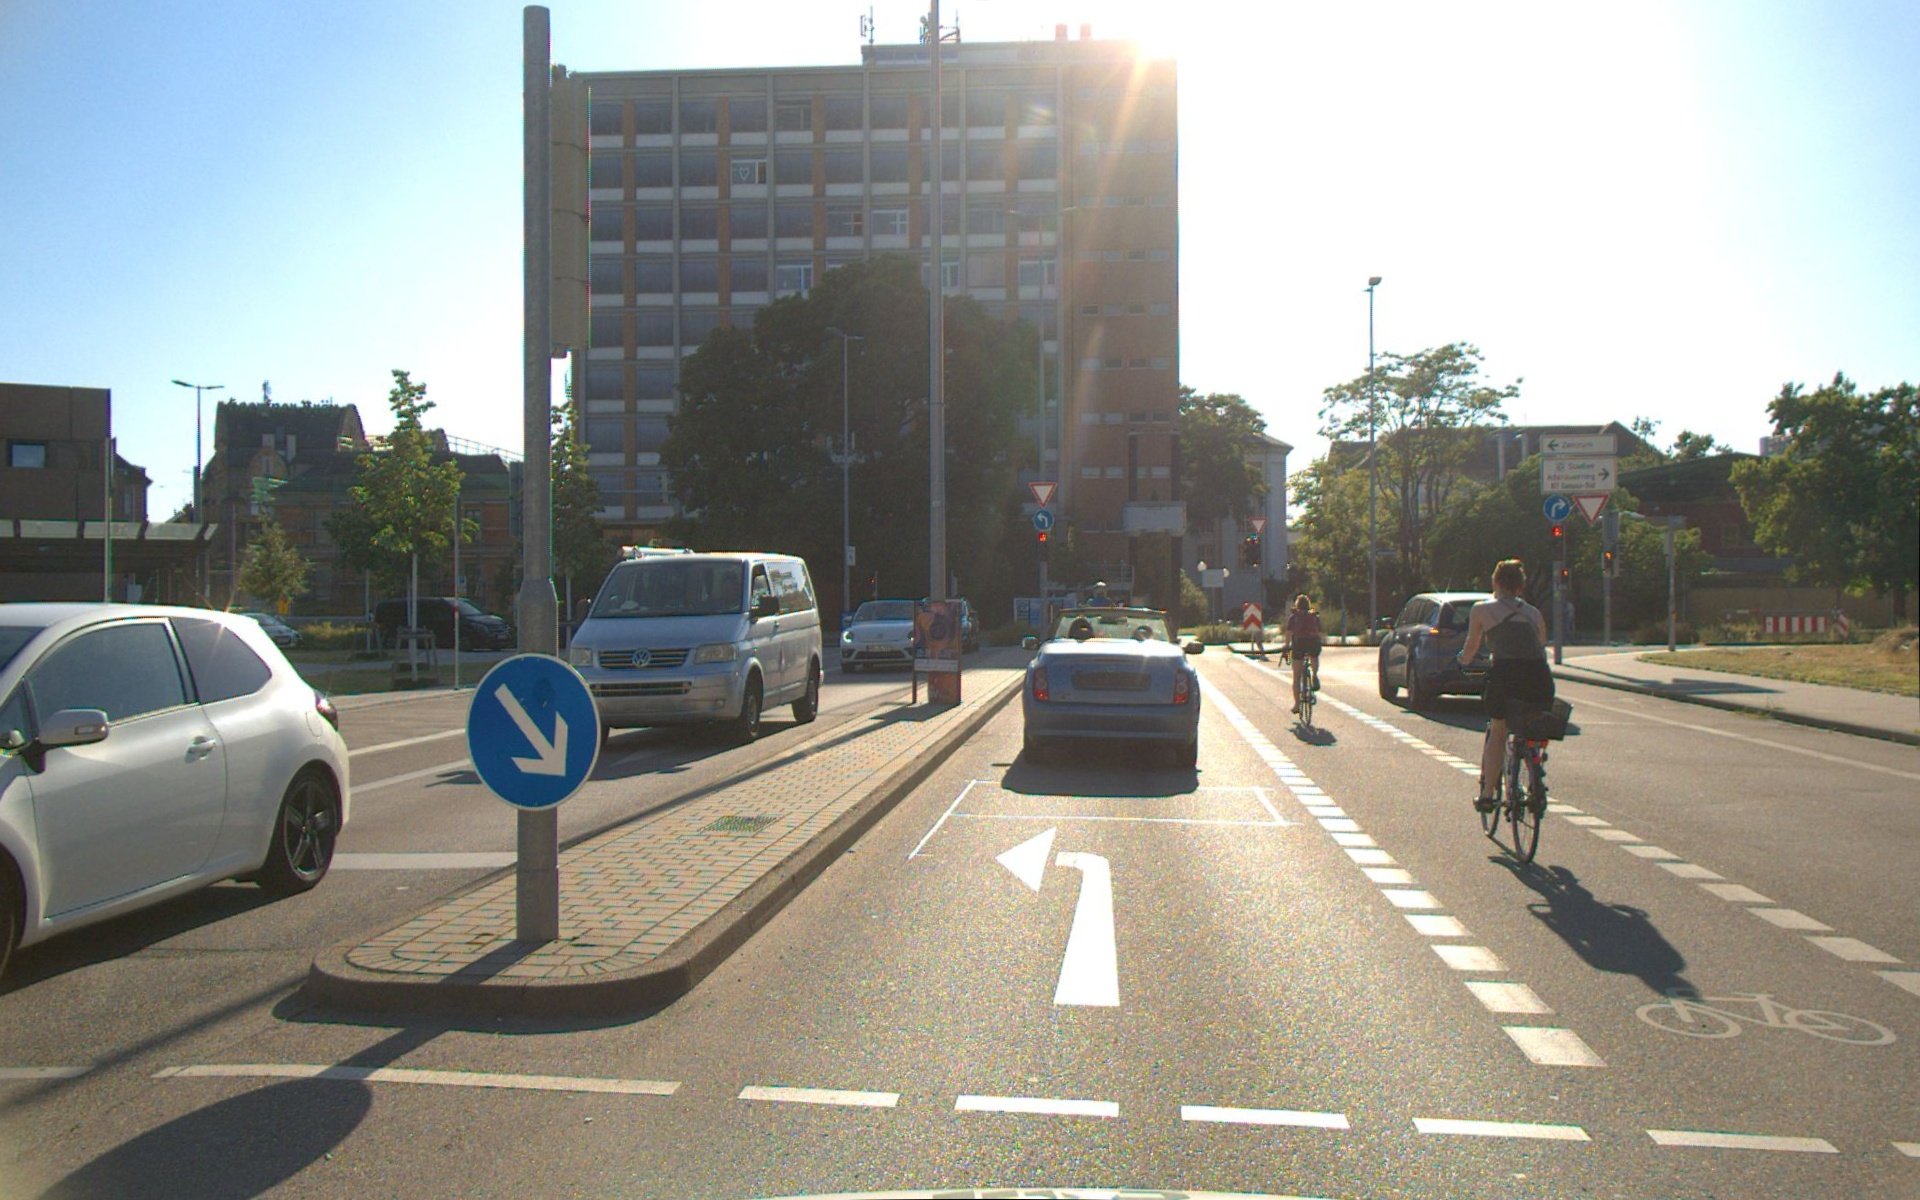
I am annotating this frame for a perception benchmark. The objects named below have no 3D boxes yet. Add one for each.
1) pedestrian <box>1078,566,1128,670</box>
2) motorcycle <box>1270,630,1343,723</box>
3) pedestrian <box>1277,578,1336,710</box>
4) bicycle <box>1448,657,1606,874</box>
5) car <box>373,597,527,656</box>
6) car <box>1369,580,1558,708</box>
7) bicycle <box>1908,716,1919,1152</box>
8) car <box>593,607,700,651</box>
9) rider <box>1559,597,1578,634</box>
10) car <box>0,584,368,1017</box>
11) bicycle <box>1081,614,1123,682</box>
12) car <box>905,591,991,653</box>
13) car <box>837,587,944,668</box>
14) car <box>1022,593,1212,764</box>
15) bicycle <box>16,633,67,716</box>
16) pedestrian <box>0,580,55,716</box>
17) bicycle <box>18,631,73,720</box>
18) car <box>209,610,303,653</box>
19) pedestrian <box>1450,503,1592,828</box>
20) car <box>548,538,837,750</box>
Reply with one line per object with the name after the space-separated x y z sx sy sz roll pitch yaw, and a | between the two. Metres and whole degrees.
2.688 0.336 31.015 0.815 1.902 0.921 1 -1 9 | pedestrian
4.416 0.948 21.184 0.600 1.117 2.361 1 -1 5 | motorcycle
4.417 0.554 21.129 0.575 1.626 1.025 1 -1 4 | pedestrian
3.467 0.957 10.251 0.552 1.171 1.951 1 -1 8 | bicycle
-18.132 0.947 58.801 5.051 1.928 2.244 -2 0 26 | car
7.470 0.640 24.962 1.793 1.719 4.370 1 -1 4 | car
2.841 0.903 3.414 0.542 1.192 2.373 1 -1 4 | bicycle
-11.625 1.073 61.396 3.561 1.588 1.651 -1 0 16 | car
27.112 0.677 73.736 0.736 1.626 0.590 1 -1 17 | rider
-4.261 0.746 7.144 1.658 1.588 3.982 -1 0 6 | car
2.673 0.882 30.949 0.595 1.212 2.416 1 -1 9 | bicycle
-0.276 0.564 44.837 1.761 1.557 4.003 -2 0 8 | car
-1.401 0.554 34.854 1.761 1.557 4.002 -2 0 4 | car
1.514 0.724 16.572 1.625 1.466 4.156 1 -1 4 | car
-13.481 1.073 24.252 0.600 1.134 1.877 2 -1 -30 | bicycle
-13.433 0.682 23.561 0.891 1.902 0.680 2 -1 -30 | pedestrian
-12.490 1.006 22.560 0.600 1.134 1.877 2 -1 -30 | bicycle
-26.936 1.196 63.277 3.524 1.588 1.640 -1 0 33 | car
3.433 0.387 10.186 0.645 1.902 0.873 1 -1 7 | pedestrian
-2.763 0.432 18.289 1.868 1.979 4.710 -2 0 7 | car
